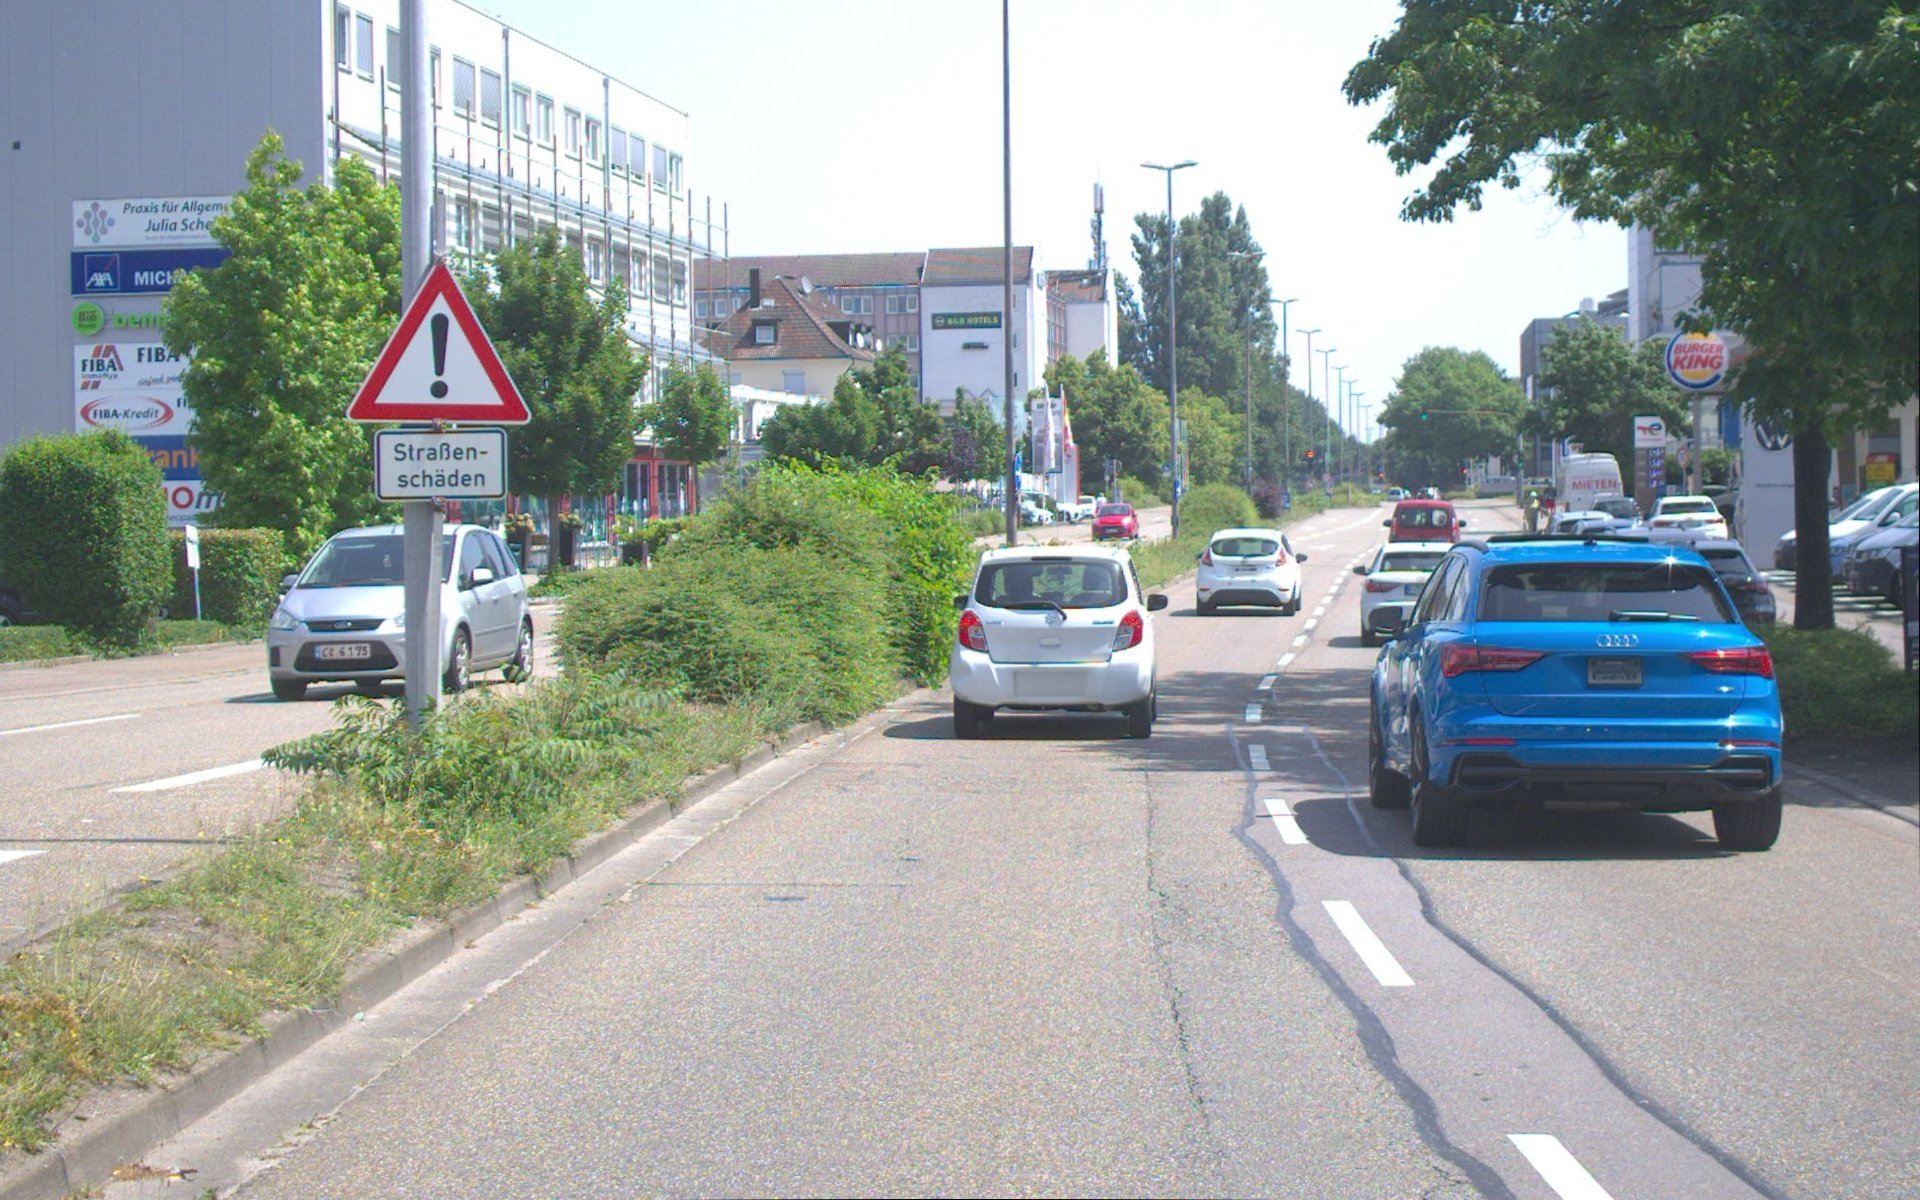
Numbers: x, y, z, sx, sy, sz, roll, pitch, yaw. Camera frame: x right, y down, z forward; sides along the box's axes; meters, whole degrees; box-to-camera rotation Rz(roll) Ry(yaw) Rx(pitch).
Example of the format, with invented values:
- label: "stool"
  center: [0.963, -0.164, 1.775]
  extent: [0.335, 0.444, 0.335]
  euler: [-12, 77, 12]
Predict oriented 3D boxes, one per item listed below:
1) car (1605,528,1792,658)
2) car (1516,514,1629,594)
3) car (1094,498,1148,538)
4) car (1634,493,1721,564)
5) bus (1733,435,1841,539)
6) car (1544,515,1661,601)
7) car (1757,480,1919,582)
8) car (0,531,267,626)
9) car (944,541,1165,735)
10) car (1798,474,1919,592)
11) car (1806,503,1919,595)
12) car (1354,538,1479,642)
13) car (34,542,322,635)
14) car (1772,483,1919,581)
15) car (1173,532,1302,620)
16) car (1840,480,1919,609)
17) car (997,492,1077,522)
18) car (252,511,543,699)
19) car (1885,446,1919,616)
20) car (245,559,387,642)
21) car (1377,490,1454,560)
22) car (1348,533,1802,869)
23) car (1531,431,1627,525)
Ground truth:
- label: "car"
  center: [8.843, -0.124, 41.459]
  extent: [1.682, 1.430, 4.438]
  euler: [-2, 1, 6]
- label: "car"
  center: [12.563, -0.974, 70.735]
  extent: [1.732, 1.547, 4.180]
  euler: [0, 2, 2]
- label: "car"
  center: [6.281, -3.194, 133.984]
  extent: [1.631, 1.419, 3.449]
  euler: [-3, 1, 9]
- label: "car"
  center: [17.450, -1.770, 83.726]
  extent: [1.667, 1.590, 4.612]
  euler: [-2, 2, 7]
- label: "bus"
  center: [26.173, -3.686, 109.257]
  extent: [2.806, 3.068, 12.280]
  euler: [0, 3, 11]
- label: "car"
  center: [12.182, -0.826, 65.408]
  extent: [1.713, 1.543, 4.790]
  euler: [-1, 1, 5]
- label: "car"
  center: [18.074, -1.359, 67.338]
  extent: [4.557, 1.882, 1.857]
  euler: [-2, 0, 6]
- label: "car"
  center: [-13.353, -0.344, 54.619]
  extent: [4.149, 1.337, 2.042]
  euler: [-2, 2, 5]
- label: "car"
  center: [0.793, 0.296, 28.606]
  extent: [1.712, 1.505, 3.247]
  euler: [1, 0, 2]
- label: "car"
  center: [17.775, -1.284, 62.515]
  extent: [4.641, 2.006, 1.960]
  euler: [-2, 2, 6]
- label: "car"
  center: [16.649, -0.899, 59.970]
  extent: [3.632, 1.565, 1.715]
  euler: [1, 2, 13]
- label: "car"
  center: [6.374, -0.153, 48.194]
  extent: [1.667, 1.394, 3.792]
  euler: [0, 1, 7]
- label: "car"
  center: [-13.032, -0.198, 57.420]
  extent: [4.224, 1.344, 1.980]
  euler: [-2, 2, 7]
- label: "car"
  center: [18.059, -1.341, 66.870]
  extent: [4.151, 1.775, 1.881]
  euler: [-2, 0, 7]
- label: "car"
  center: [4.759, -0.425, 59.401]
  extent: [1.830, 1.445, 4.000]
  euler: [0, 1, -1]
- label: "car"
  center: [17.084, -0.870, 54.461]
  extent: [5.896, 2.007, 2.258]
  euler: [1, 1, 9]
- label: "car"
  center: [4.103, -4.951, 183.188]
  extent: [3.989, 1.547, 1.864]
  euler: [1, 0, 10]
- label: "car"
  center: [-5.299, 0.006, 32.918]
  extent: [1.780, 1.623, 4.339]
  euler: [-2, 1, 4]
- label: "car"
  center: [16.991, -1.004, 51.520]
  extent: [5.846, 2.515, 2.203]
  euler: [1, 0, 10]
- label: "car"
  center: [-12.890, -0.017, 69.030]
  extent: [1.659, 1.462, 3.797]
  euler: [-3, 2, 7]
- label: "car"
  center: [11.507, -1.882, 87.010]
  extent: [1.795, 1.723, 3.972]
  euler: [1, 1, 6]
- label: "car"
  center: [3.223, 0.445, 18.850]
  extent: [1.913, 1.591, 4.395]
  euler: [1, 1, 3]
- label: "car"
  center: [20.682, -4.055, 115.162]
  extent: [2.133, 2.829, 7.308]
  euler: [-6, 1, 4]
